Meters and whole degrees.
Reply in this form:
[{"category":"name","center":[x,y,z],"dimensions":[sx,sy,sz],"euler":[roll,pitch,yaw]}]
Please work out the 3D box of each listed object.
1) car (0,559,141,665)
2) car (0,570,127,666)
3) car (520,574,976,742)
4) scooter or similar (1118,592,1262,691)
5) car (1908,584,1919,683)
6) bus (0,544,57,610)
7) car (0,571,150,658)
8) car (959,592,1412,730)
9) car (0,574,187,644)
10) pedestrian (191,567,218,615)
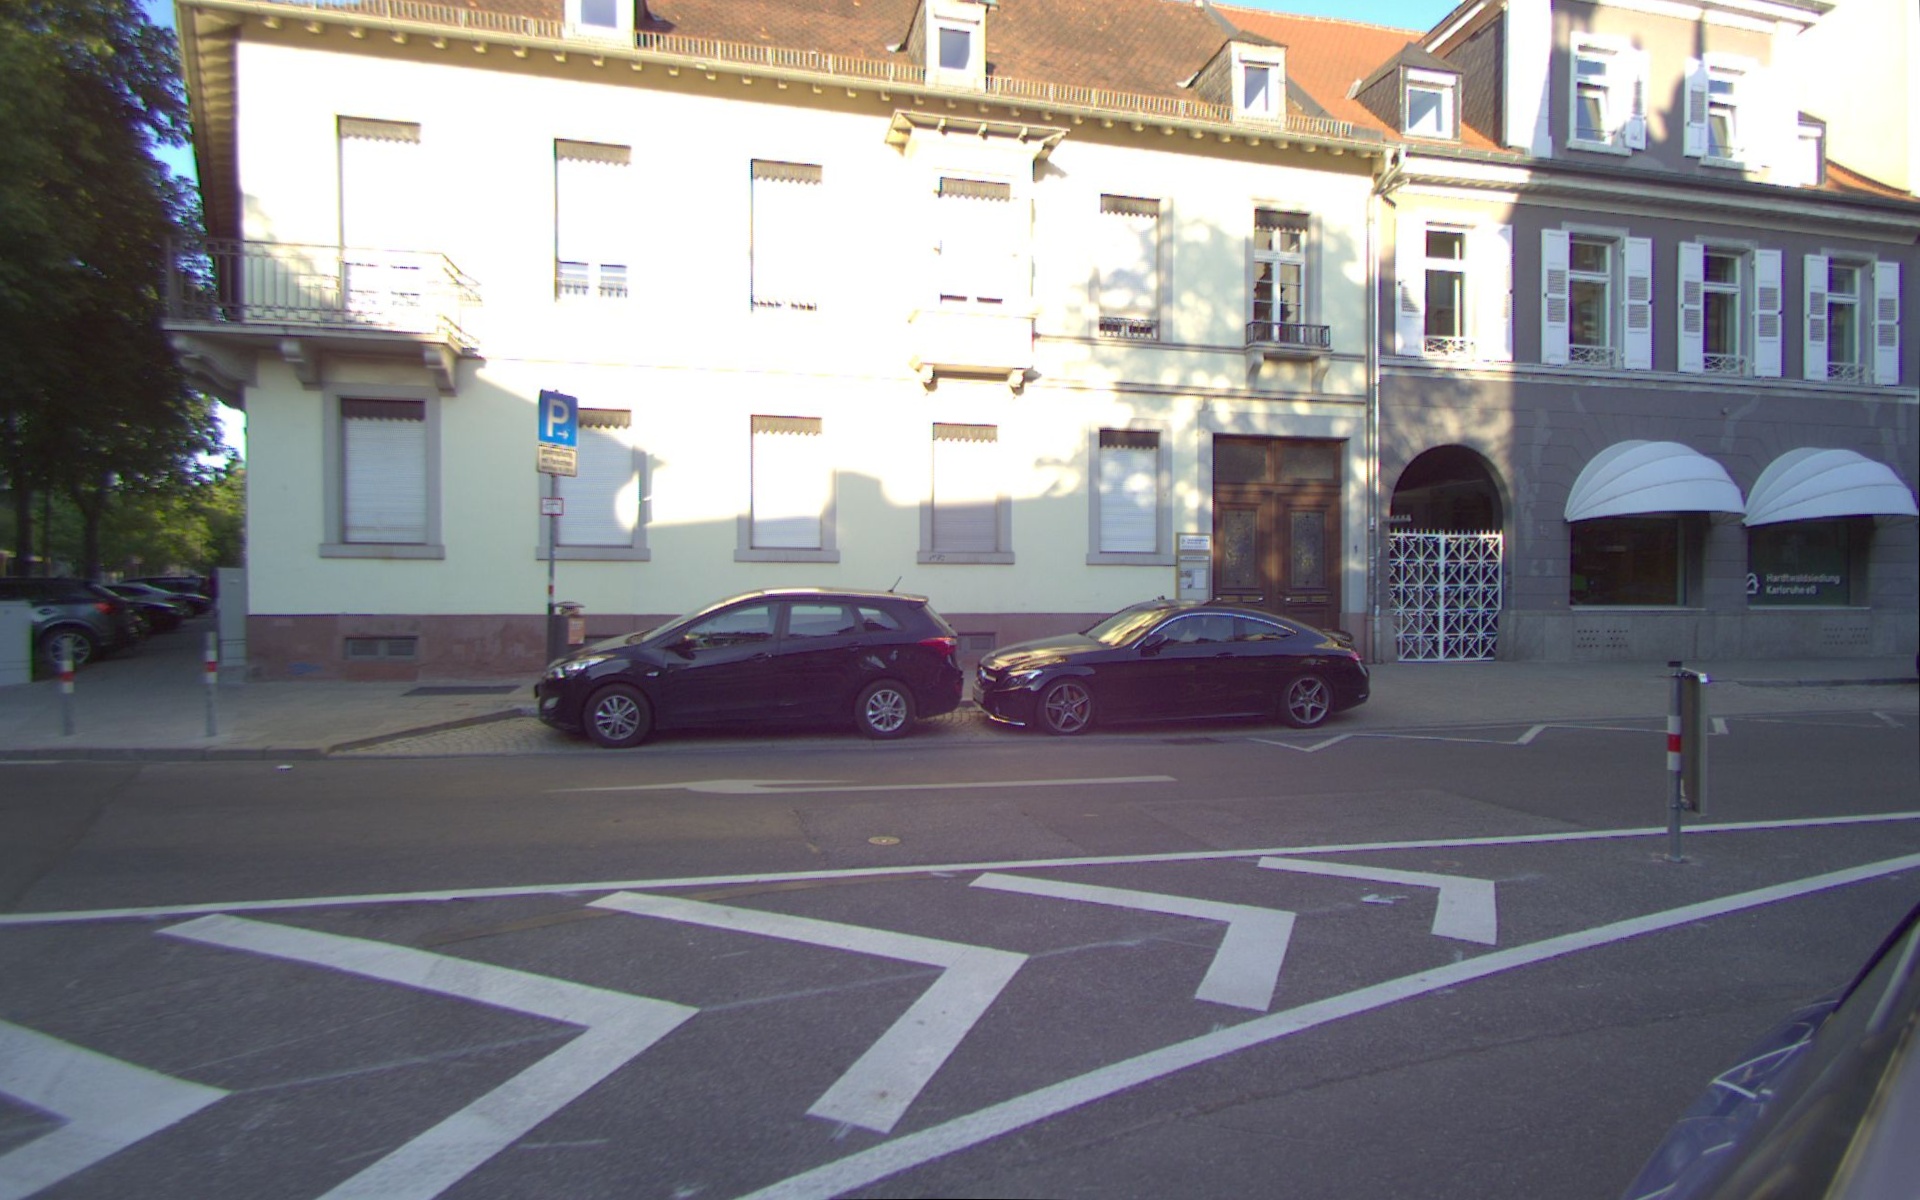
[{"category":"car","center":[-15.575,0.172,16.050],"dimensions":[3.926,1.635,1.828],"euler":[0,1,-37]},{"category":"car","center":[-17.322,0.301,17.890],"dimensions":[3.926,1.635,1.723],"euler":[-1,1,-37]},{"category":"car","center":[-2.149,0.541,10.721],"dimensions":[4.338,1.561,1.811],"euler":[0,0,-12]},{"category":"scooter or similar","center":[3.016,0.540,13.383],"dimensions":[1.735,1.247,0.605],"euler":[0,3,-2]},{"category":"car","center":[16.370,0.503,14.672],"dimensions":[4.161,1.465,1.751],"euler":[0,1,-12]},{"category":"bus","center":[-48.264,-1.110,50.853],"dimensions":[2.662,3.037,12.084],"euler":[-2,2,-34]},{"category":"car","center":[-18.566,0.260,19.981],"dimensions":[3.926,1.635,1.723],"euler":[-1,1,-37]},{"category":"car","center":[2.494,0.617,11.646],"dimensions":[4.757,1.412,1.782],"euler":[0,0,-11]},{"category":"car","center":[-21.578,0.181,24.993],"dimensions":[3.926,1.635,1.723],"euler":[-1,1,-37]},{"category":"pedestrian","center":[-28.569,-0.349,38.278],"dimensions":[0.792,1.793,1.021],"euler":[0,0,-36]}]
